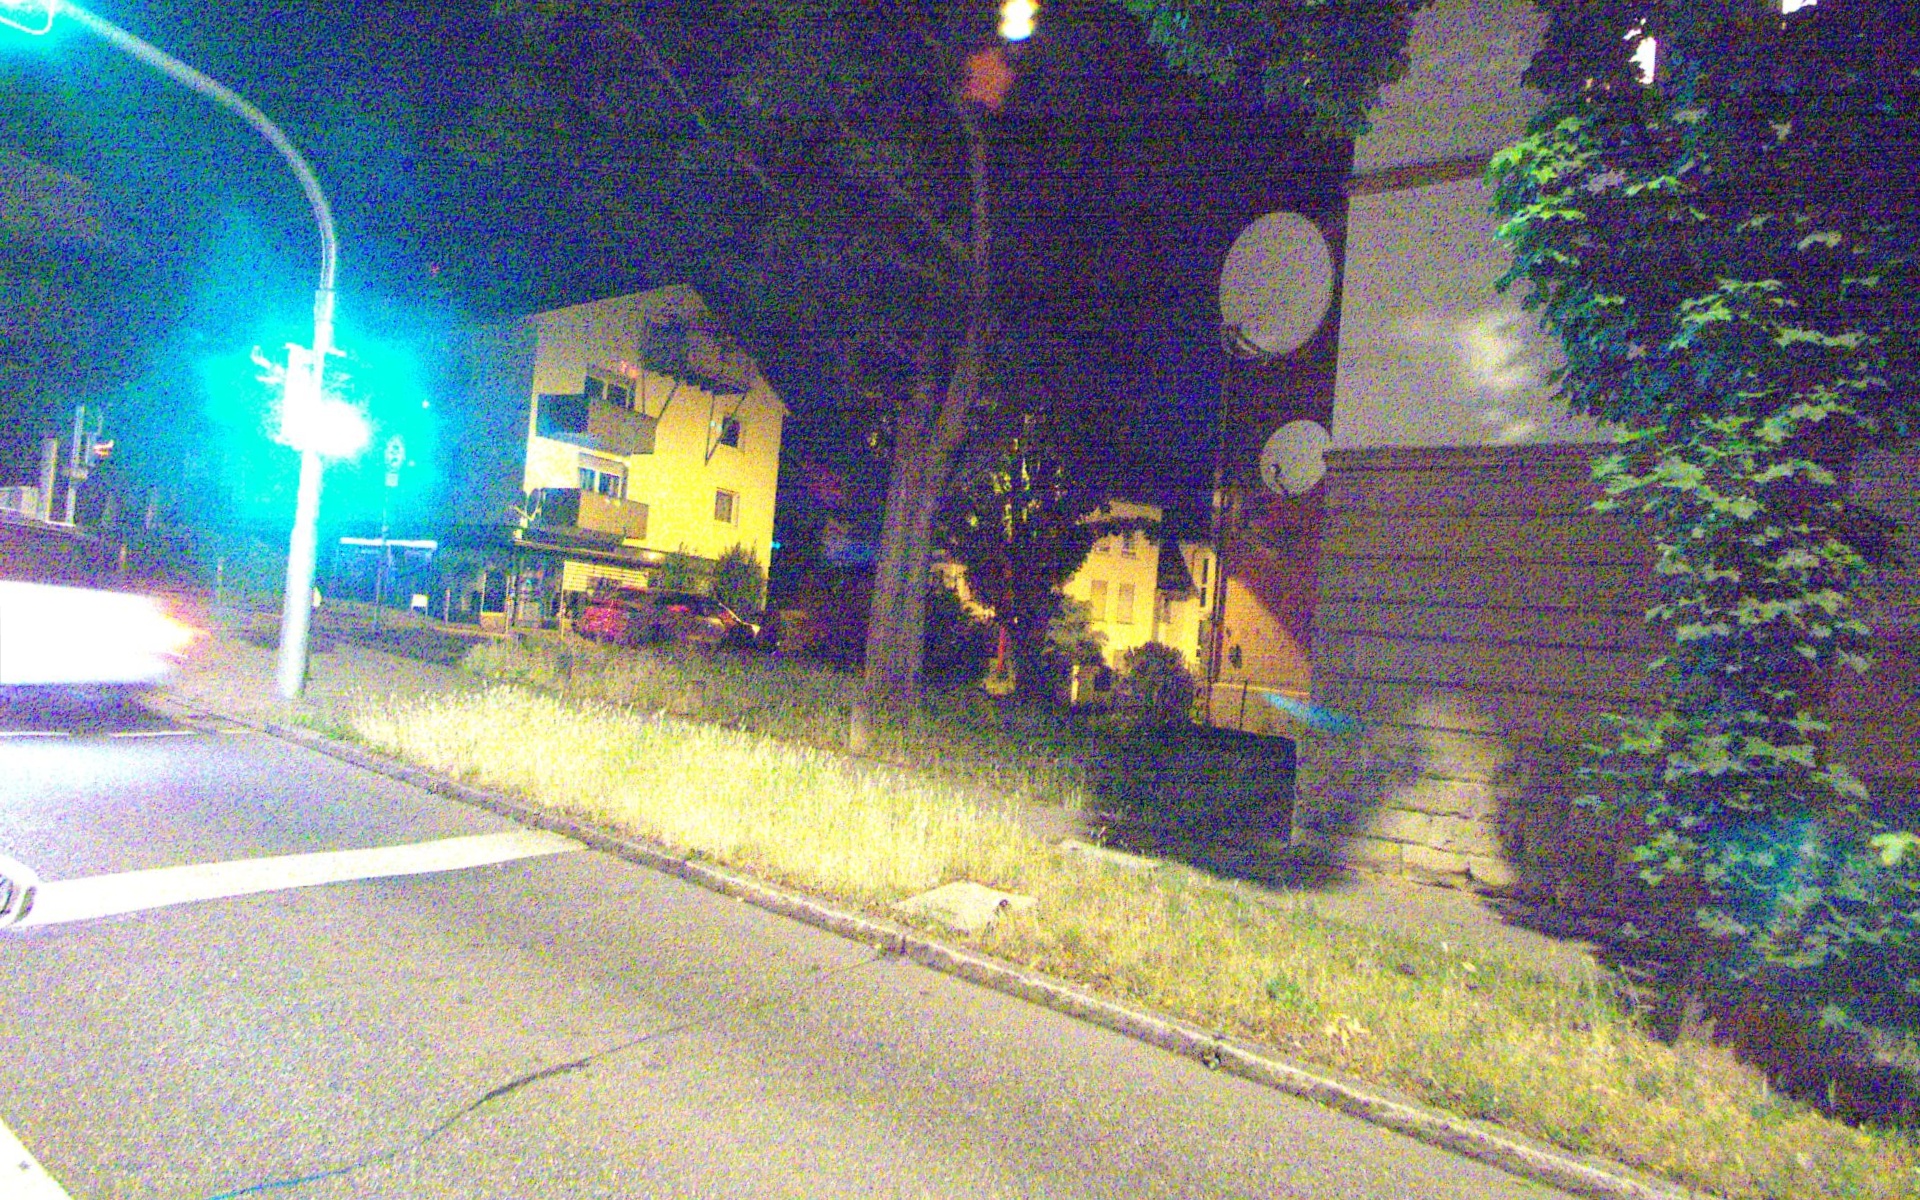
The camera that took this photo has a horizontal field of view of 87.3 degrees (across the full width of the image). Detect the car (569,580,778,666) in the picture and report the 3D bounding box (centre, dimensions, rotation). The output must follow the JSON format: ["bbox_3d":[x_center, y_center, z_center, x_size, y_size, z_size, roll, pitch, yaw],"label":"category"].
[{"bbox_3d":[-6.510,0.579,23.300,1.778,1.577,4.366,3,-3,38],"label":"car"}]

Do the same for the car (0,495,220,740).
[{"bbox_3d":[-7.493,-0.050,7.365,3.932,1.503,1.780,6,-2,30],"label":"car"}]
